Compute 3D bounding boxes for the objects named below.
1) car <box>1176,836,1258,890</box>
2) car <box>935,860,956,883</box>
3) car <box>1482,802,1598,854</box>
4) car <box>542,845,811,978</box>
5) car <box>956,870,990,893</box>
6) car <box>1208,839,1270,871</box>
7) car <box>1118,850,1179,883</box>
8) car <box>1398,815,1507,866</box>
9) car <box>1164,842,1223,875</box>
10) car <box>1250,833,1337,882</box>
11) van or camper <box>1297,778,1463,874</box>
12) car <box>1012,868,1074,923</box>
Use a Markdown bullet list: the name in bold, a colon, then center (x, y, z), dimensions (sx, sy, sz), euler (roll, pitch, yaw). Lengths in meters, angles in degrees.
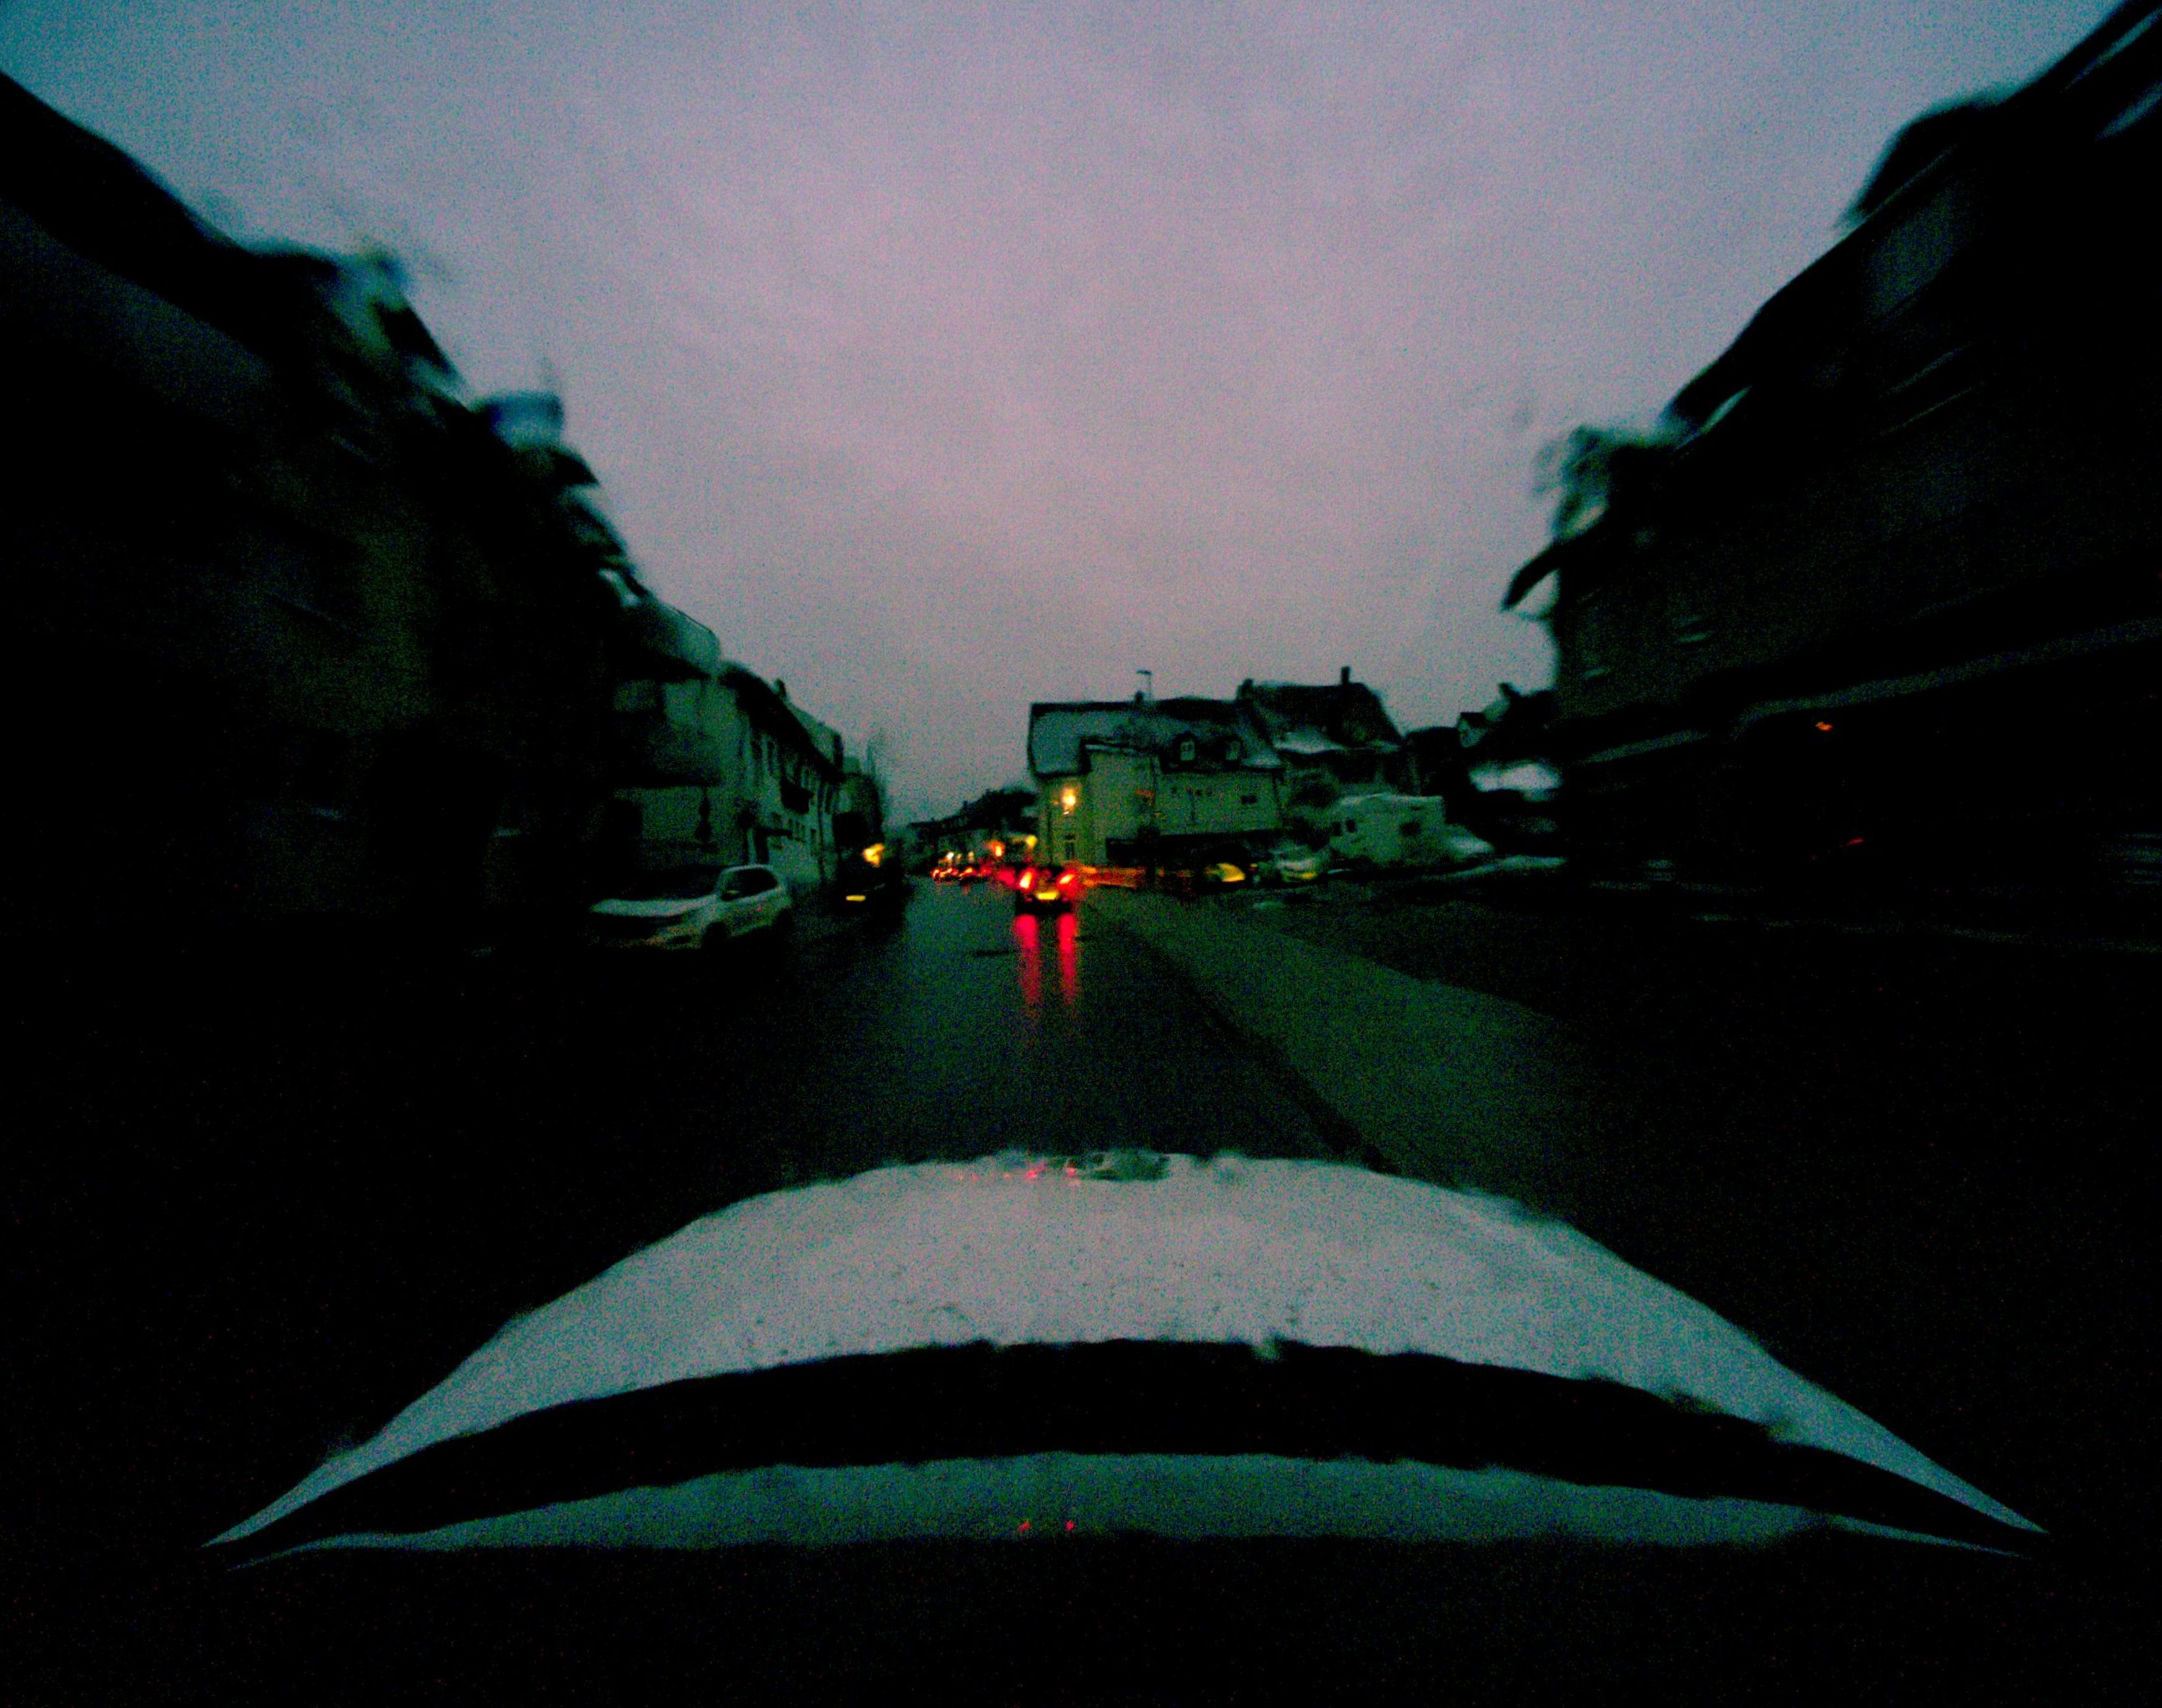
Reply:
- **car**: center (5.080, 0.323, 31.054), dimensions (1.990, 1.765, 4.343), euler (-4, 0, -4)
- **car**: center (-13.659, 1.729, 82.221), dimensions (1.994, 2.202, 3.985), euler (-1, 0, -10)
- **car**: center (17.040, -0.928, 30.486), dimensions (1.987, 1.606, 4.000), euler (-6, 0, 0)
- **car**: center (-6.620, 0.835, 14.207), dimensions (1.987, 1.843, 5.303), euler (-1, 0, 0)
- **car**: center (-8.116, 1.994, 60.932), dimensions (1.997, 1.588, 3.979), euler (-1, 0, -15)
- **car**: center (8.241, 0.056, 42.843), dimensions (1.821, 1.462, 4.537), euler (-4, 0, -7)
- **car**: center (3.298, 0.617, 40.417), dimensions (1.890, 1.462, 3.614), euler (-2, 0, -15)
- **car**: center (13.681, -0.455, 30.254), dimensions (1.786, 1.553, 3.992), euler (-8, 0, -6)
- **car**: center (5.697, 0.237, 41.583), dimensions (1.723, 1.462, 3.617), euler (-4, 0, -13)
- **car**: center (7.937, 0.179, 30.846), dimensions (1.989, 1.610, 4.170), euler (-4, -1, -2)
- **van or camper**: center (11.087, -0.907, 31.008), dimensions (2.652, 3.047, 6.709), euler (-5, 0, -10)
- **car**: center (-1.236, 1.270, 26.278), dimensions (1.810, 1.533, 3.995), euler (-1, 0, -3)
